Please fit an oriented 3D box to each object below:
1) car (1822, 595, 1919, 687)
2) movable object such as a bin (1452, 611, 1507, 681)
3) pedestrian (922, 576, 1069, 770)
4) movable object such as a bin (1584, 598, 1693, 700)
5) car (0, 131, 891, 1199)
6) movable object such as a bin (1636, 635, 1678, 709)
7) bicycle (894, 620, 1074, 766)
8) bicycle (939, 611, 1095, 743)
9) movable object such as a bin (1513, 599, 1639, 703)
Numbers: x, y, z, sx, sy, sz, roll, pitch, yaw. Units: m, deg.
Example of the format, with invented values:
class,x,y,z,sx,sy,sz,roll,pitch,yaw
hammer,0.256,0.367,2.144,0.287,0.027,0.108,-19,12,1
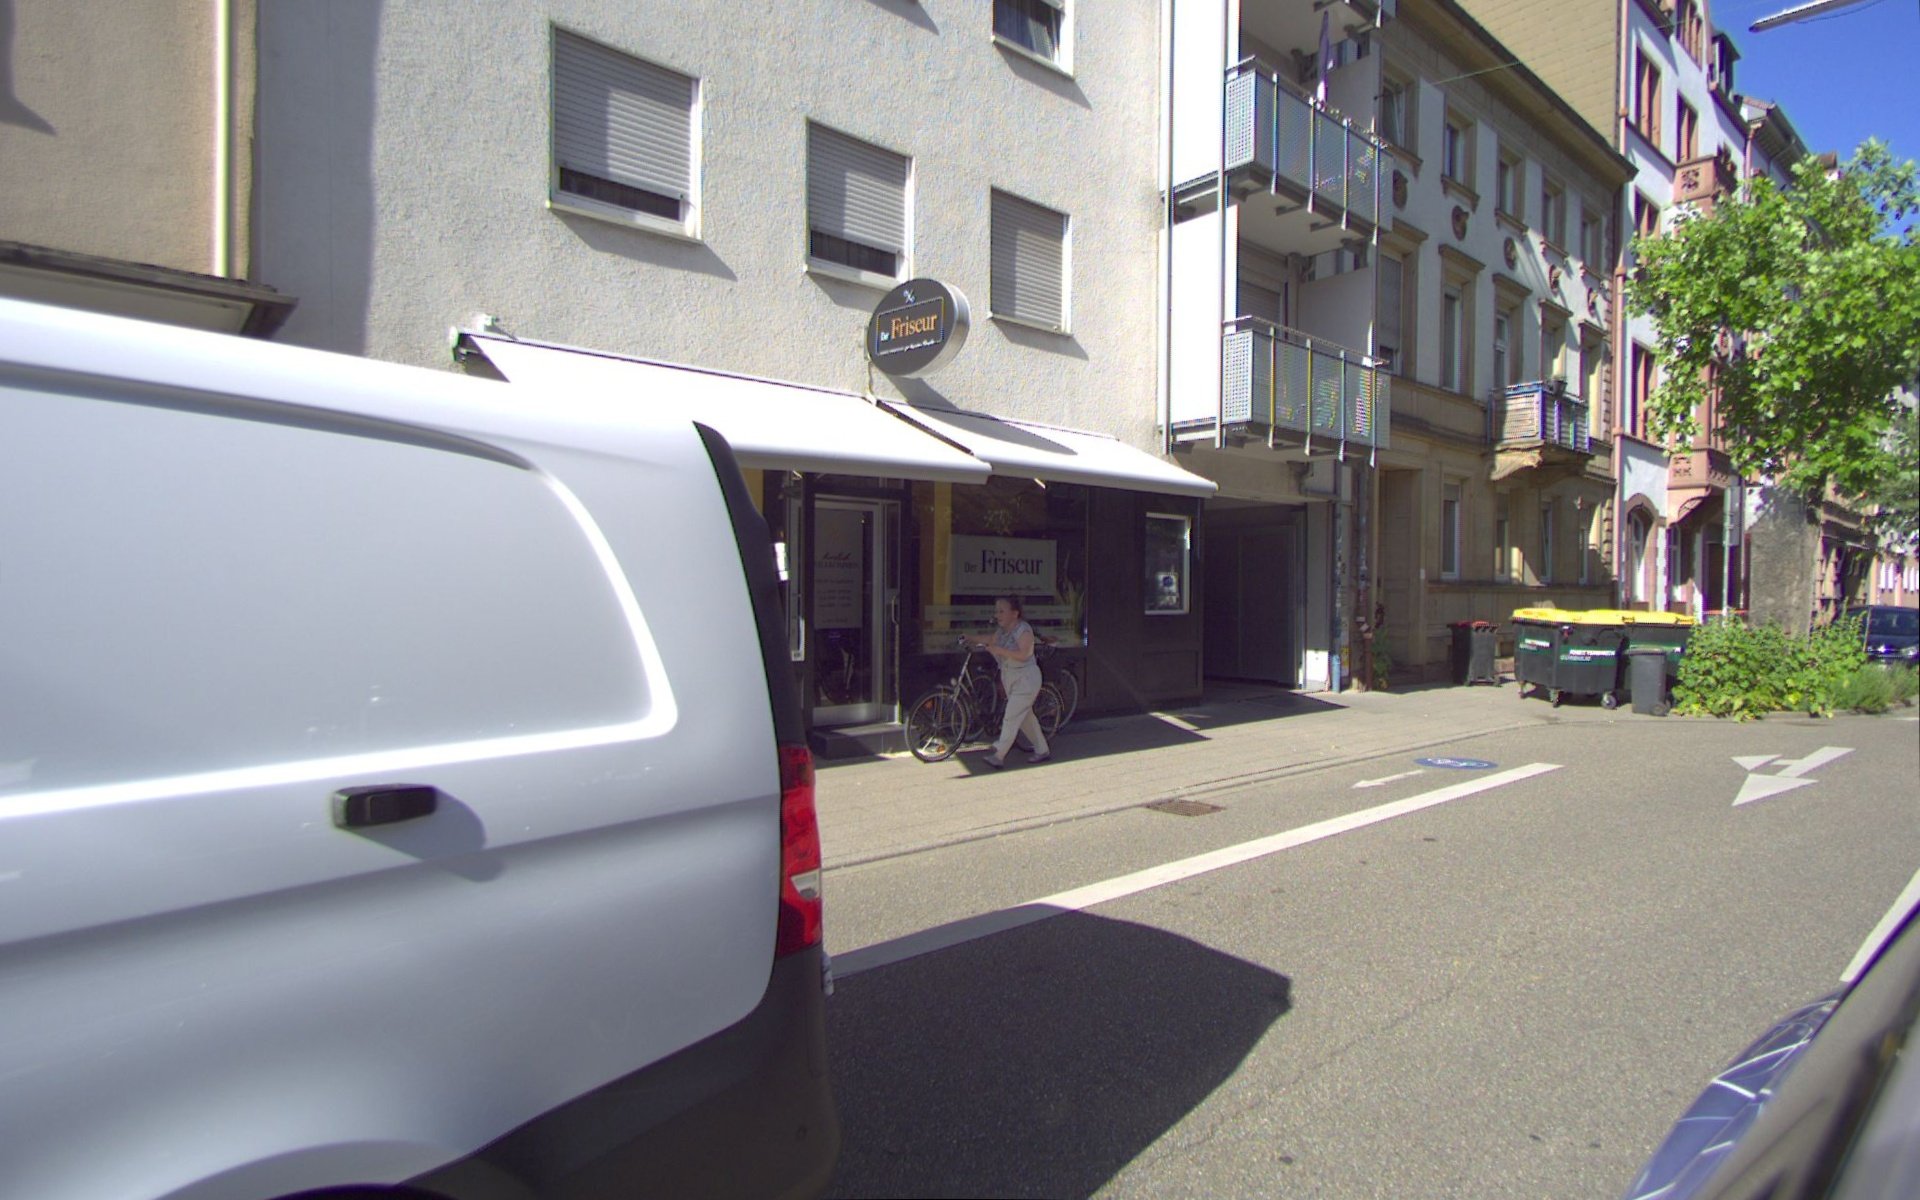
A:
class,x,y,z,sx,sy,sz,roll,pitch,yaw
car,16.833,0.678,18.219,3.293,1.510,1.550,0,1,-41
movable object such as a bin,8.529,0.745,16.627,0.557,1.094,0.617,1,3,1
pedestrian,0.309,0.596,8.928,0.930,1.556,0.825,0,4,-41
movable object such as a bin,9.955,0.690,14.905,0.943,1.365,1.066,1,3,11
car,-2.538,0.448,0.875,4.912,1.892,1.838,0,1,-43
movable object such as a bin,9.568,0.976,13.891,0.399,0.933,0.478,3,3,41
bicycle,0.249,0.788,9.091,1.760,1.146,0.402,0,4,-41
bicycle,0.601,0.723,10.106,1.760,1.193,0.402,0,0,-41
movable object such as a bin,8.839,0.705,14.581,1.030,1.341,1.216,1,3,1
